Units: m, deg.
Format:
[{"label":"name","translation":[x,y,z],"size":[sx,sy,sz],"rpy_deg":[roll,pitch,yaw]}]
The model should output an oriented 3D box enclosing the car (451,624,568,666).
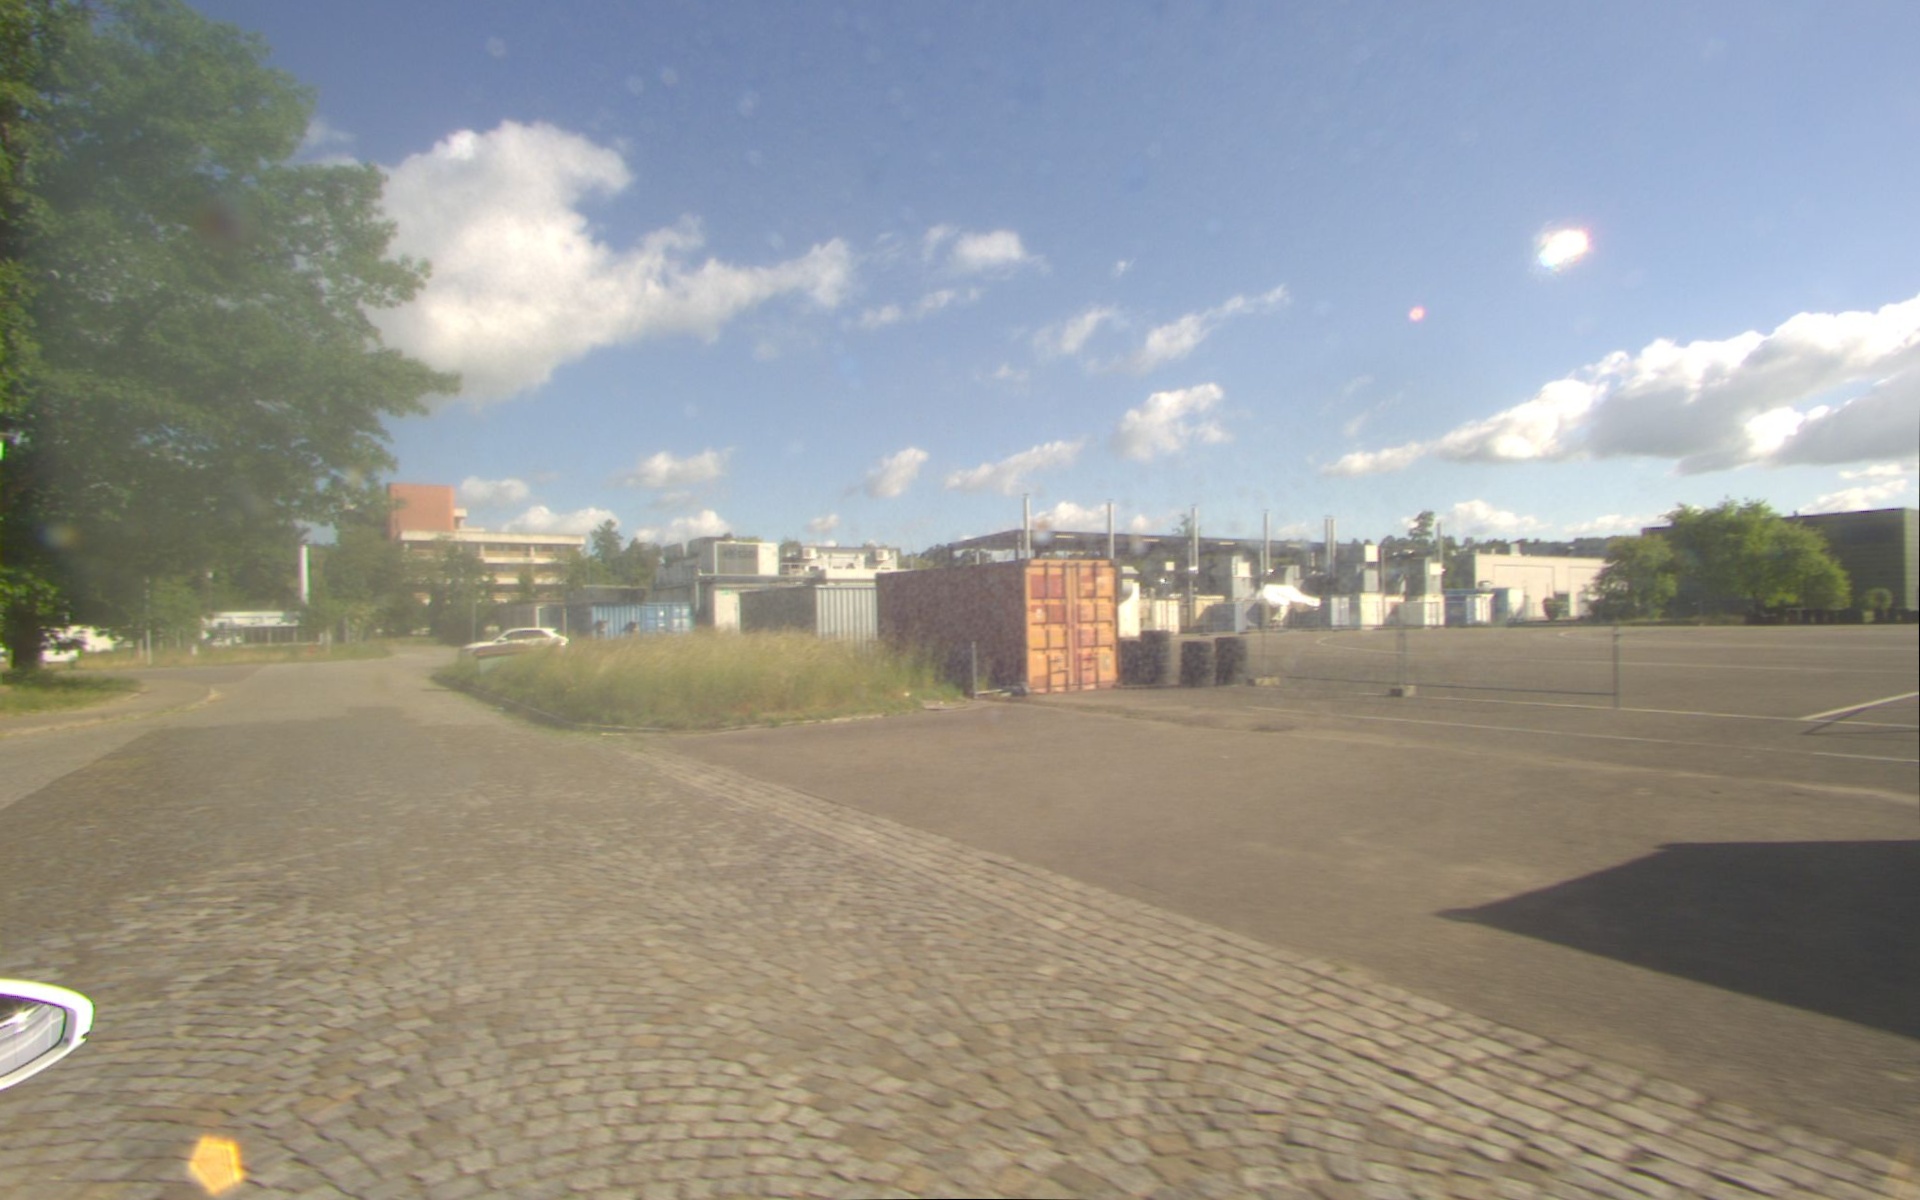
[{"label":"car","translation":[-20.120,1.972,44.790],"size":[4.541,1.699,1.863],"rpy_deg":[0,-1,-34]}]
